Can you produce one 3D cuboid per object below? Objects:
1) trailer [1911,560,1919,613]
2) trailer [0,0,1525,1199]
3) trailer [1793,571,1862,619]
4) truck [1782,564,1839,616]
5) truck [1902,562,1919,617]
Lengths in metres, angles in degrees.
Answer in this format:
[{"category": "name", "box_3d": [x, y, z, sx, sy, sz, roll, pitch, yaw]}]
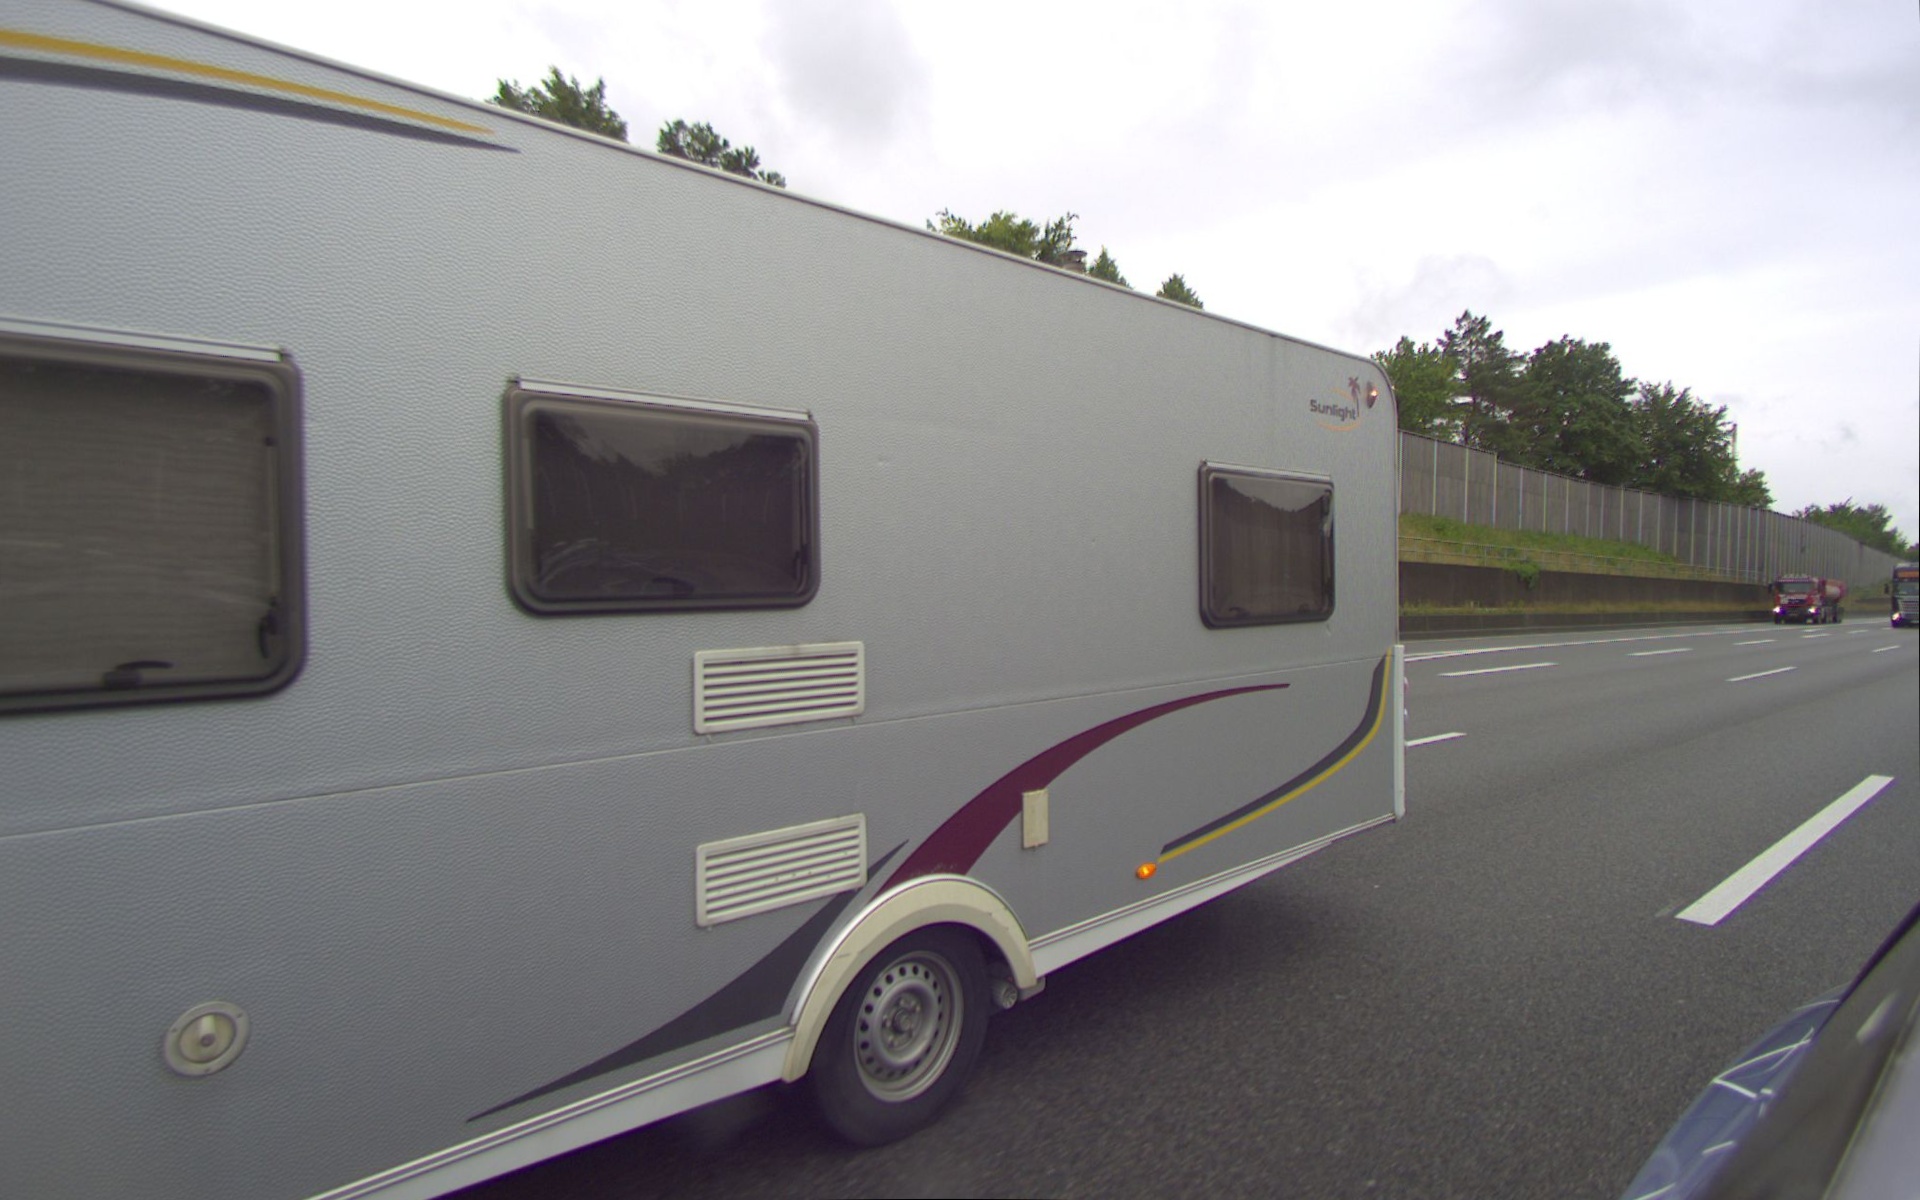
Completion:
[{"category": "trailer", "box_3d": [63.926, -0.825, 65.328, 9.741, 3.288, 2.598, 0, 1, -41]}, {"category": "trailer", "box_3d": [-0.885, 0.033, 3.614, 7.380, 2.675, 2.726, 0, 1, -41]}, {"category": "trailer", "box_3d": [63.791, -0.393, 74.347, 9.235, 3.288, 2.451, 0, 1, -40]}, {"category": "truck", "box_3d": [59.360, -0.695, 70.622, 3.930, 3.508, 2.419, 0, 1, -41]}, {"category": "truck", "box_3d": [58.757, -0.617, 60.852, 4.551, 3.278, 2.615, 0, 1, -41]}]
